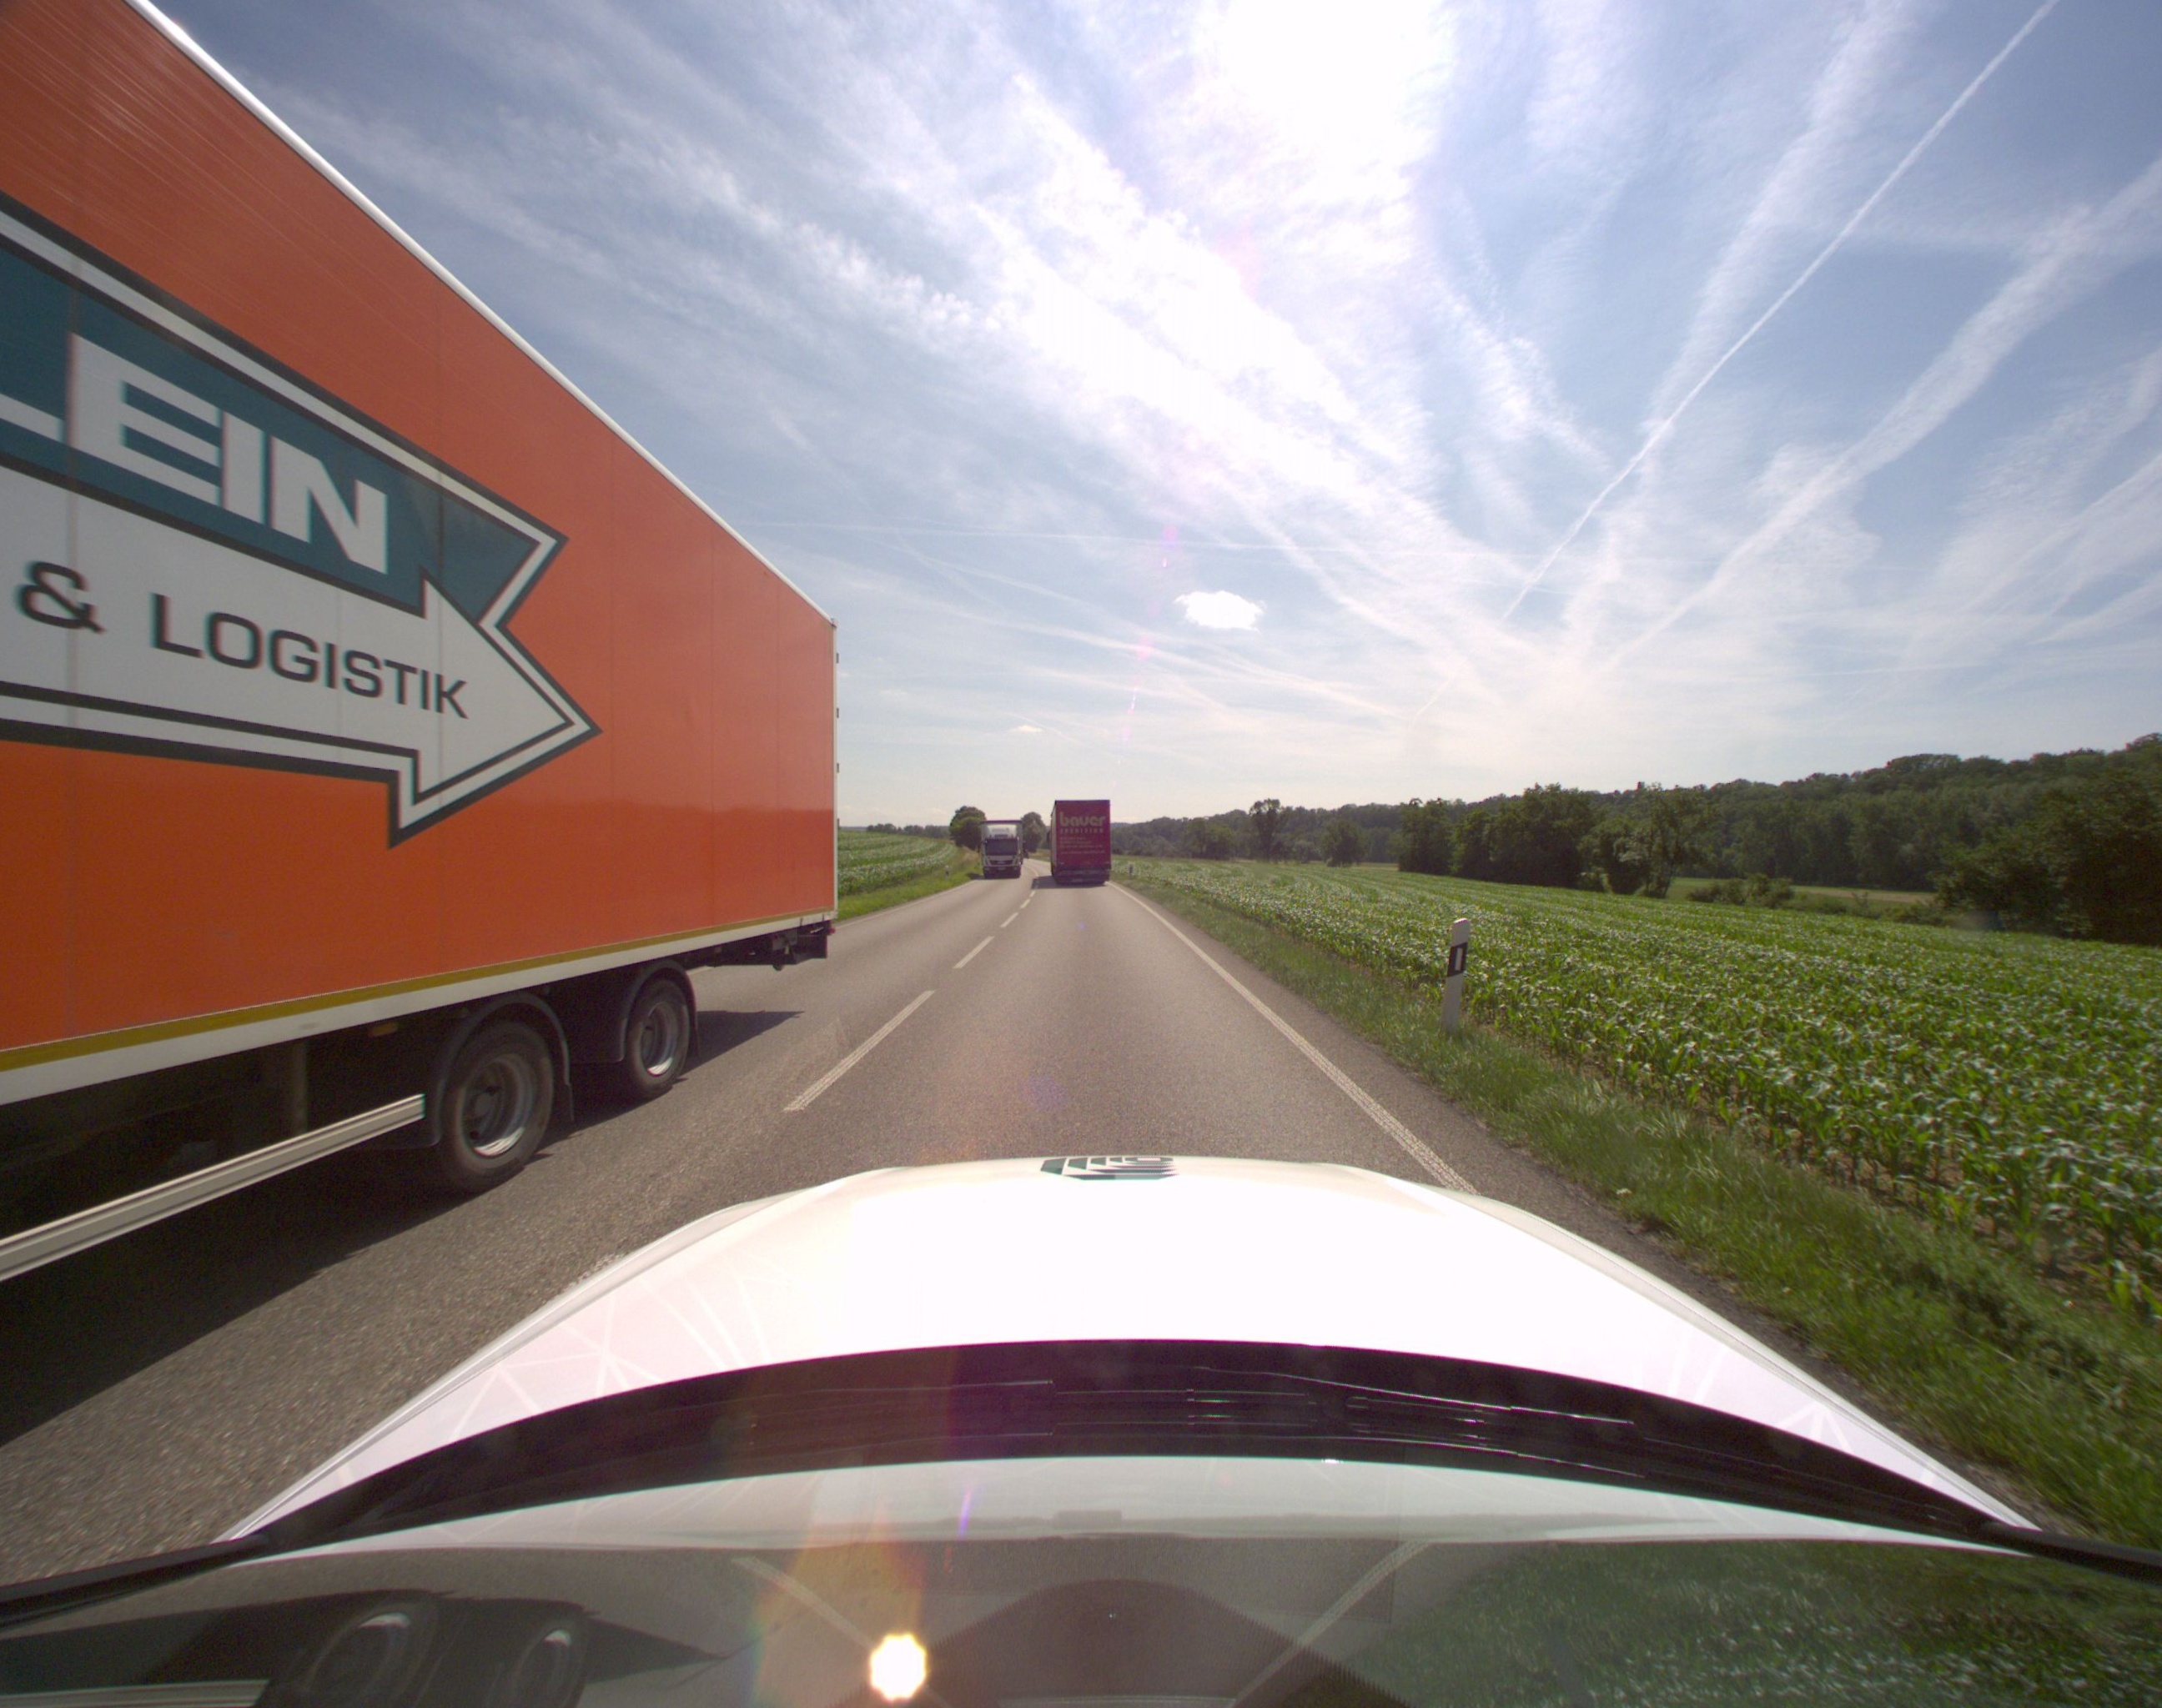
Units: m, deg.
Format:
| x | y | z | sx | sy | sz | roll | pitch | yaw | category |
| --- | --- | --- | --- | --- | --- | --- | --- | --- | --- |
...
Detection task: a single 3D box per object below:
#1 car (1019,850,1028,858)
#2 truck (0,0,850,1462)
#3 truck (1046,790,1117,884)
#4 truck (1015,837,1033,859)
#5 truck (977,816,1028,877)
| x | y | z | sx | sy | sz | roll | pitch | yaw | category |
| --- | --- | --- | --- | --- | --- | --- | --- | --- | --- |
| -10.540 | 0.051 | 150.117 | 1.579 | 1.501 | 3.869 | -1 | 0 | -6 | car |
| -4.041 | -0.506 | 0.447 | 2.761 | 3.998 | 17.028 | -1 | 0 | 1 | truck |
| -0.143 | -0.737 | 41.174 | 3.087 | 4.263 | 8.304 | 0 | 0 | -3 | truck |
| -12.190 | -1.156 | 174.080 | 3.634 | 4.292 | 11.966 | -1 | -1 | -4 | truck |
| -5.031 | -0.465 | 53.663 | 2.734 | 3.578 | 9.717 | -1 | 0 | -2 | truck |
